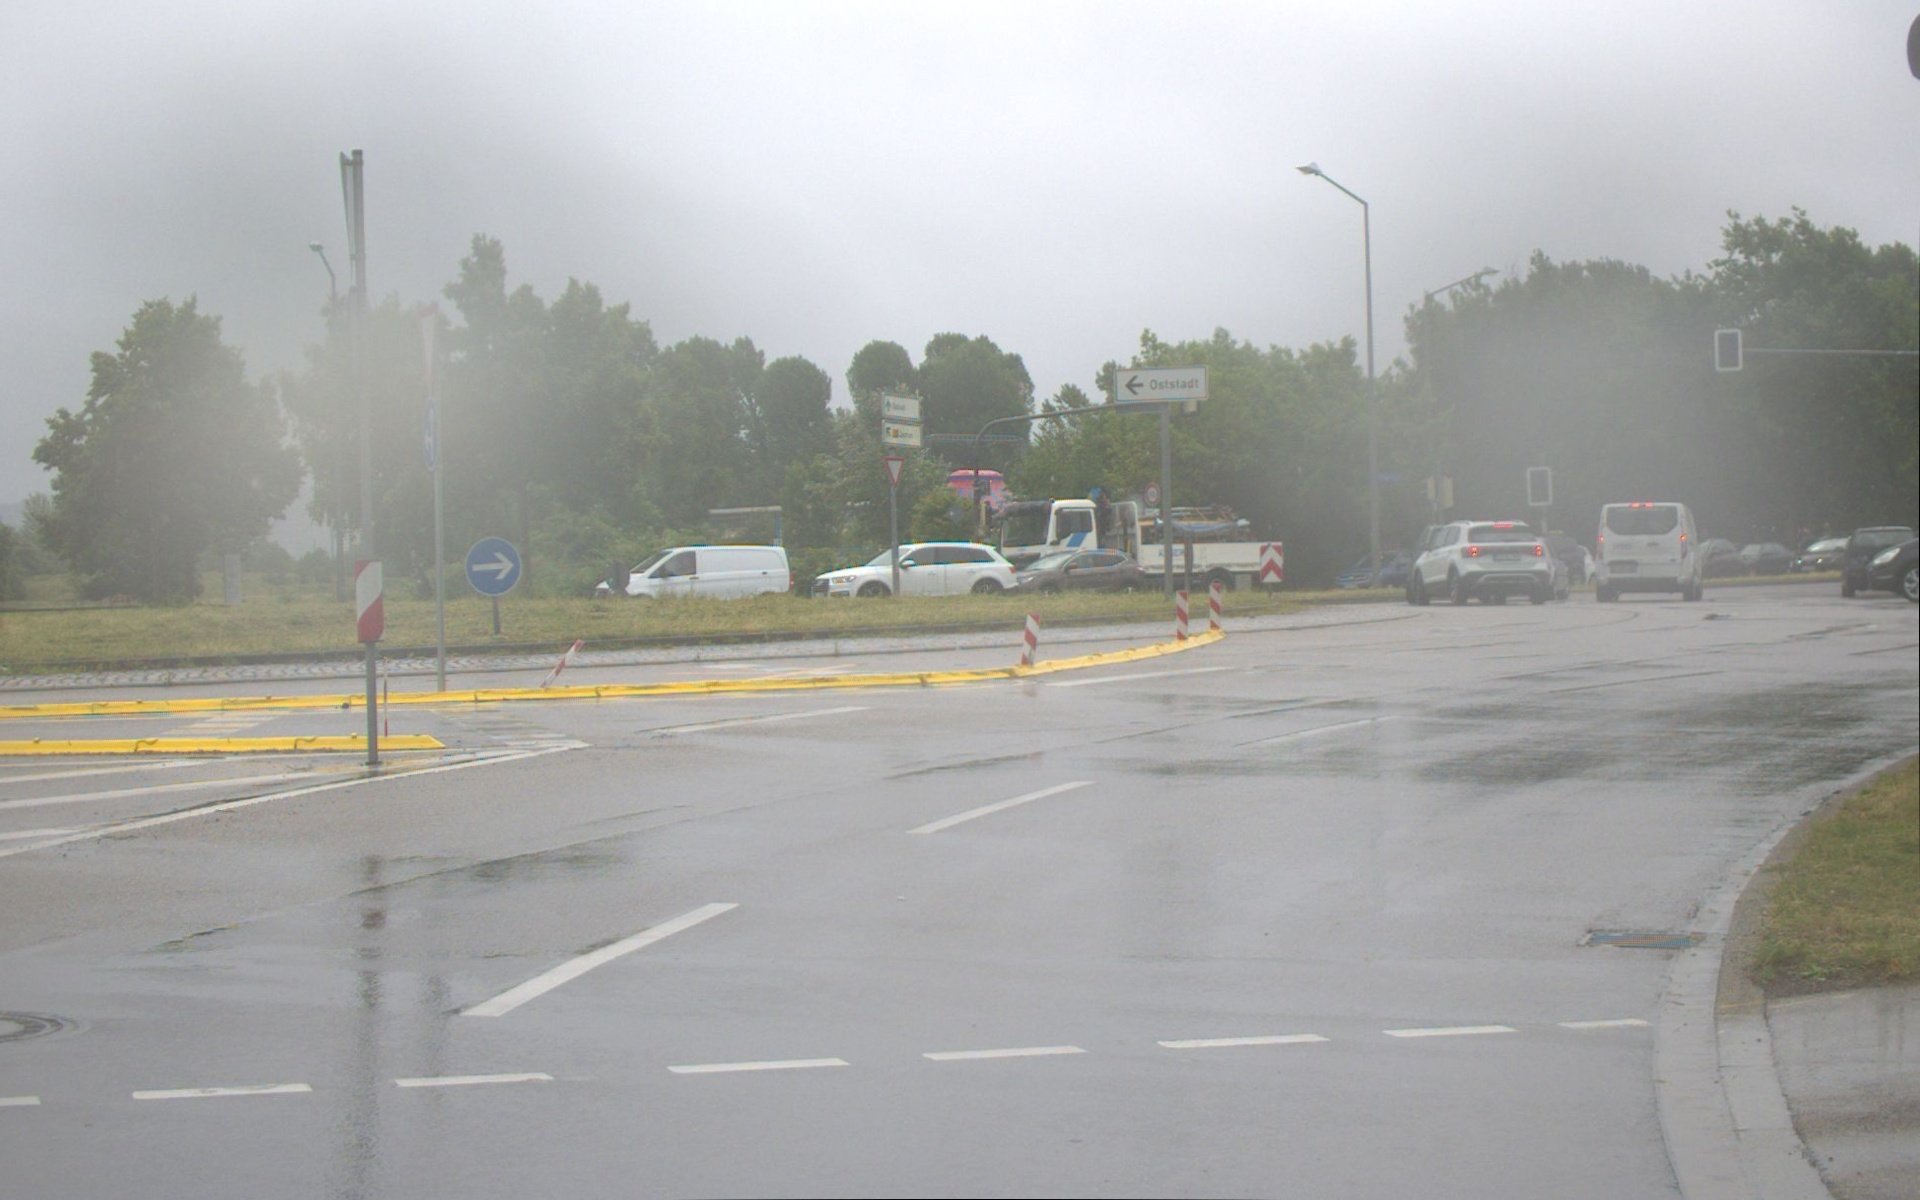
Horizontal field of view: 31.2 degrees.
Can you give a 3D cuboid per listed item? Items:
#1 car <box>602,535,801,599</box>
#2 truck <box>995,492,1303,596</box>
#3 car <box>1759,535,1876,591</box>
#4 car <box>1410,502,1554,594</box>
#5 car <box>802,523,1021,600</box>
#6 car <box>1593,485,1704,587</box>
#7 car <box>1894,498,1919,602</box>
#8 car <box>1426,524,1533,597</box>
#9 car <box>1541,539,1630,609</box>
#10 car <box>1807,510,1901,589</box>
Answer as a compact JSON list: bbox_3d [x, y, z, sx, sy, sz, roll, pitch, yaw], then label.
[{"bbox_3d":[-6.305,-0.792,83.819,4.533,1.487,1.612,1,1,-21],"label":"car"},{"bbox_3d":[5.245,-1.507,94.280,8.768,2.702,2.000,0,1,-30],"label":"truck"},{"bbox_3d":[27.748,-1.183,111.185,1.998,1.744,3.990,1,1,43],"label":"car"},{"bbox_3d":[9.800,-0.973,64.791,1.680,1.642,3.948,1,1,-6],"label":"car"},{"bbox_3d":[-1.146,-0.914,81.550,4.849,1.738,1.778,1,1,-24],"label":"car"},{"bbox_3d":[14.181,-1.297,70.665,1.785,2.029,3.996,1,1,18],"label":"car"},{"bbox_3d":[17.088,-0.773,54.883,3.992,1.642,1.787,1,1,23],"label":"car"},{"bbox_3d":[10.943,-0.832,72.334,1.690,1.487,3.248,1,1,18],"label":"car"},{"bbox_3d":[13.945,-0.578,76.549,1.690,1.487,3.249,1,1,15],"label":"car"},{"bbox_3d":[17.693,-1.018,68.128,1.690,1.487,3.249,-1,1,13],"label":"car"}]
